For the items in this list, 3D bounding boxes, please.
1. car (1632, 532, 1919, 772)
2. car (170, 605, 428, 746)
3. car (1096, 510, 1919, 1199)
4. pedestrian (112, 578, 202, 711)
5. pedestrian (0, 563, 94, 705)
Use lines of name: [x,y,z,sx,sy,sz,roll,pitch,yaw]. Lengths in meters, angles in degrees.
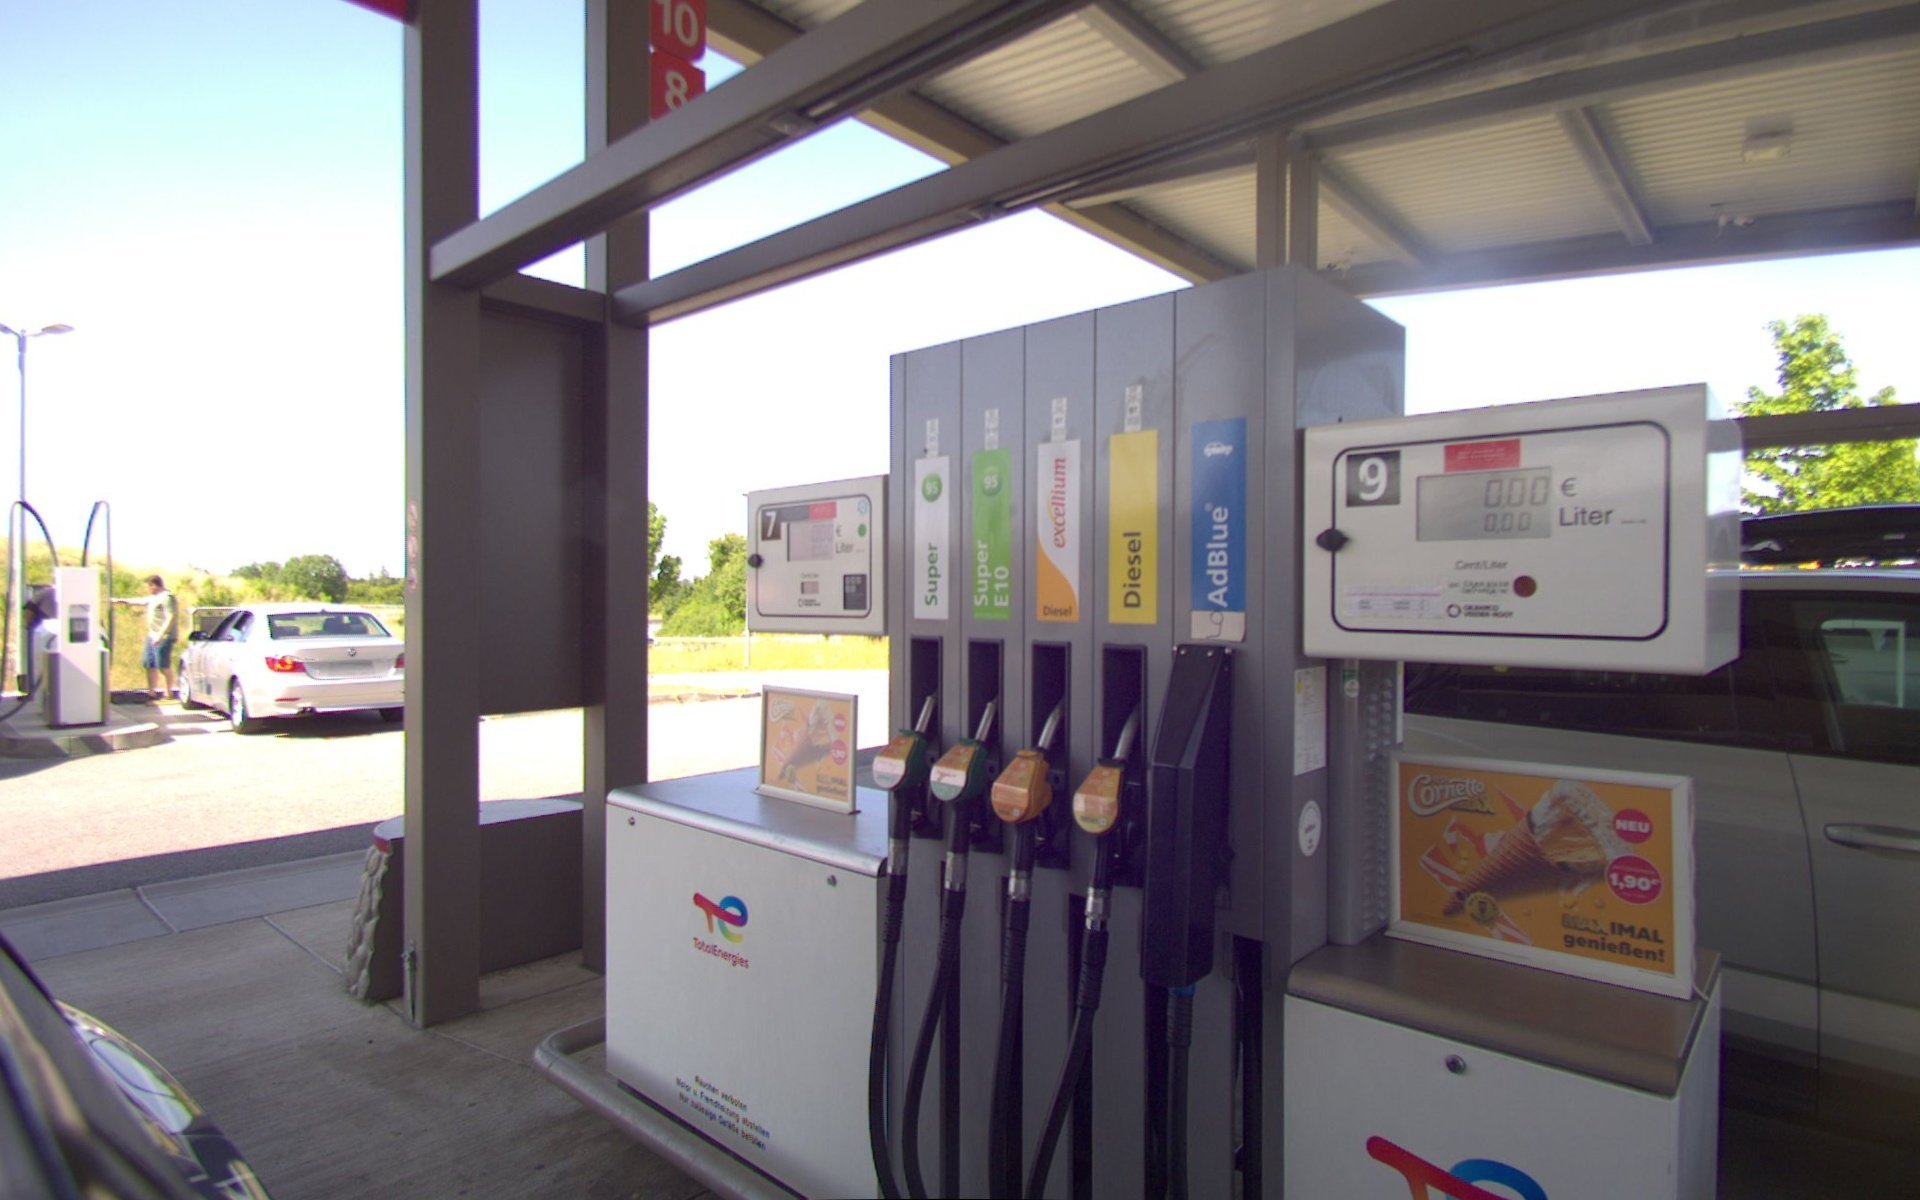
car: [7.806,0.364,7.540,4.530,1.700,1.842,-1,-1,38]
car: [-8.479,0.806,12.821,4.322,1.439,1.768,1,0,43]
car: [2.648,0.591,2.669,4.325,1.553,1.761,-1,-1,43]
pedestrian: [-11.086,0.592,13.984,0.708,1.762,0.834,-1,-1,38]
pedestrian: [-11.979,0.431,13.155,0.833,1.783,0.709,0,-1,-2]
